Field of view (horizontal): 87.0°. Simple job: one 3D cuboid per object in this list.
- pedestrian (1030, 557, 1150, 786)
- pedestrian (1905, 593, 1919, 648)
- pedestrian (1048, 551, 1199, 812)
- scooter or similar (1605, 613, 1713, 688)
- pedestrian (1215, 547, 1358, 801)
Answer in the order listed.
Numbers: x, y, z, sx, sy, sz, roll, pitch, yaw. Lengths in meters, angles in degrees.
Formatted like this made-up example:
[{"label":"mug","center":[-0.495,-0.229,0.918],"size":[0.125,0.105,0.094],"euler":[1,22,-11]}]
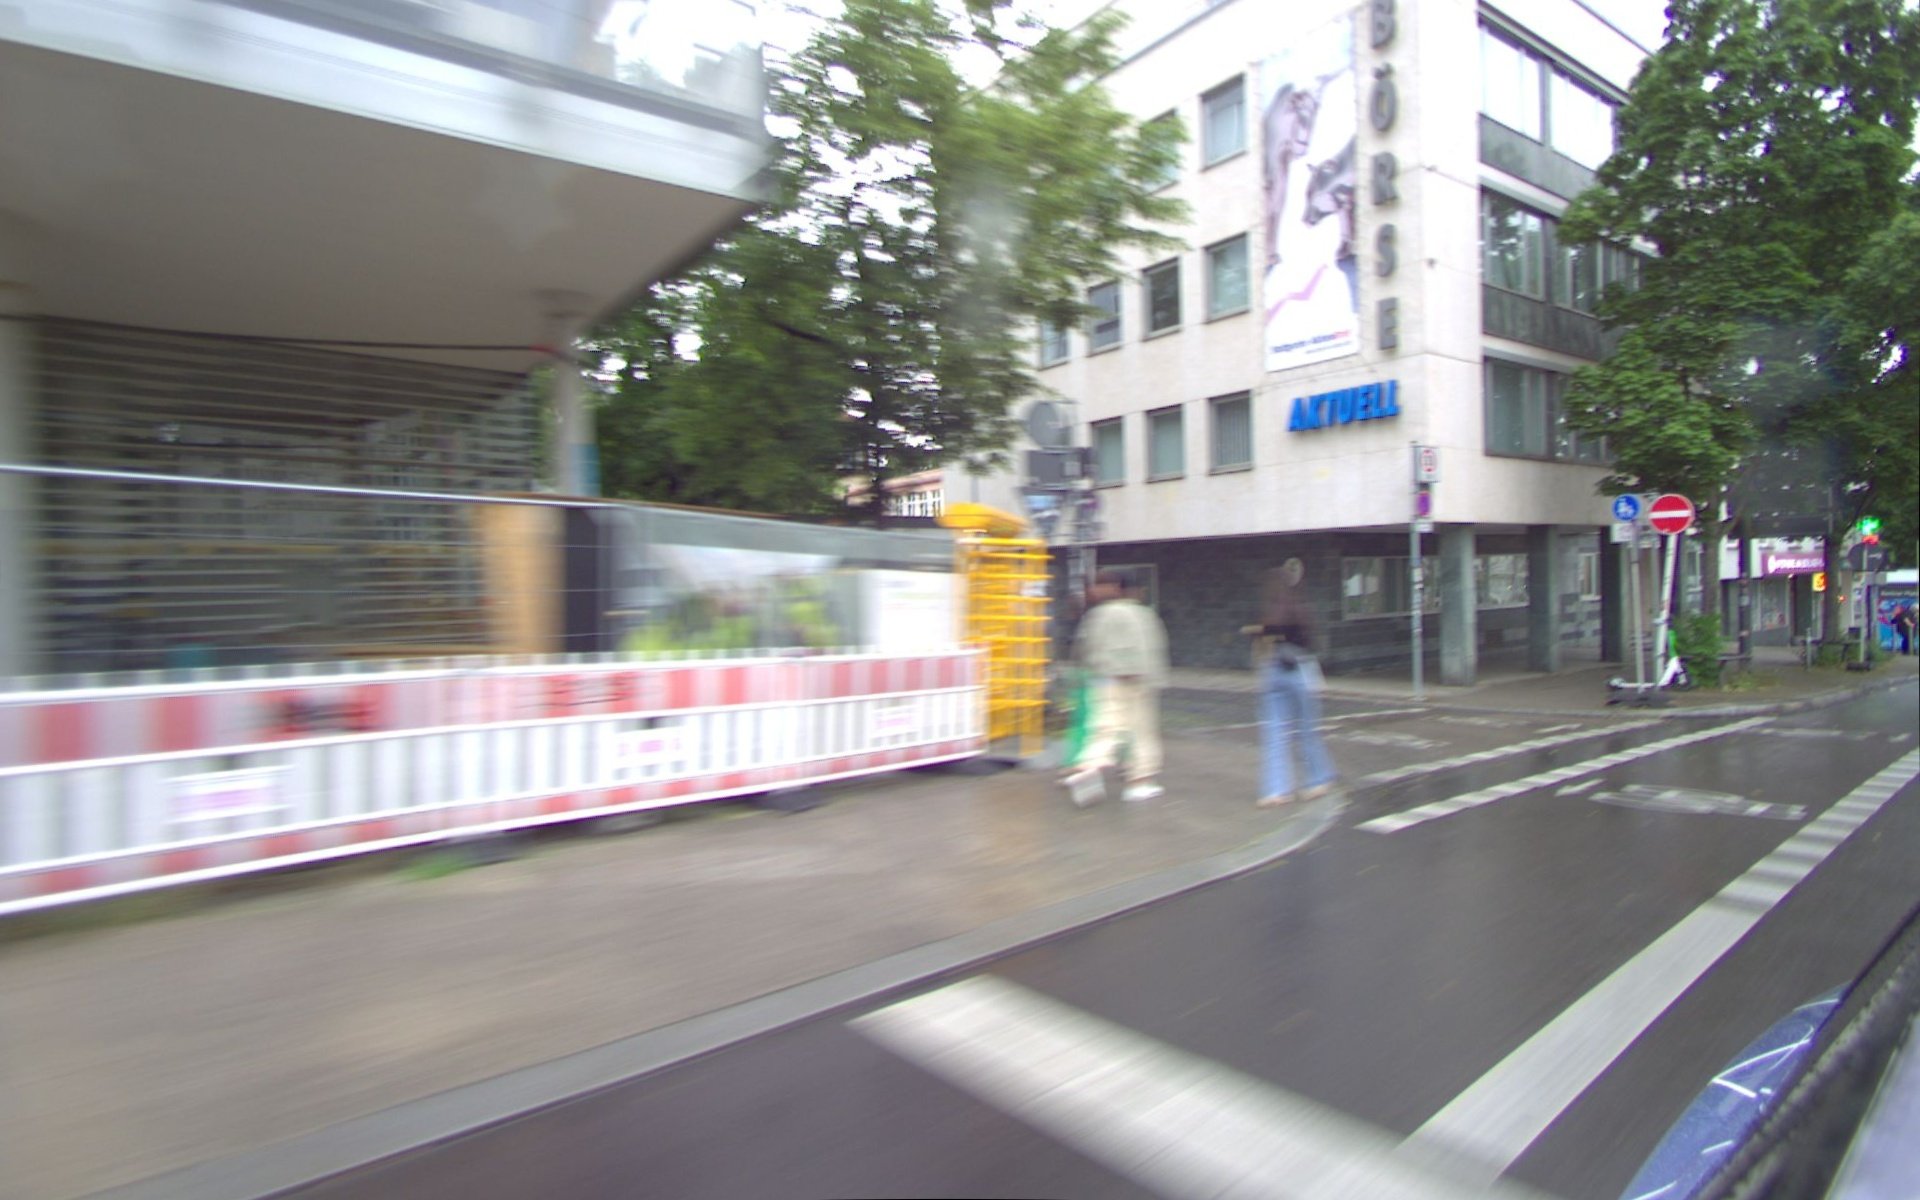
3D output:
[{"label":"pedestrian","center":[1.081,0.551,8.395],"size":[0.830,1.784,0.598],"euler":[0,0,-42]},{"label":"pedestrian","center":[28.662,0.610,30.204],"size":[0.476,1.645,0.560],"euler":[2,-3,-38]},{"label":"pedestrian","center":[1.221,0.552,7.518],"size":[0.718,1.784,0.944],"euler":[0,0,42]},{"label":"scooter or similar","center":[11.645,0.829,16.901],"size":[1.366,1.194,0.509],"euler":[-1,0,20]},{"label":"pedestrian","center":[2.495,0.513,7.710],"size":[0.718,1.784,0.944],"euler":[0,0,42]}]
